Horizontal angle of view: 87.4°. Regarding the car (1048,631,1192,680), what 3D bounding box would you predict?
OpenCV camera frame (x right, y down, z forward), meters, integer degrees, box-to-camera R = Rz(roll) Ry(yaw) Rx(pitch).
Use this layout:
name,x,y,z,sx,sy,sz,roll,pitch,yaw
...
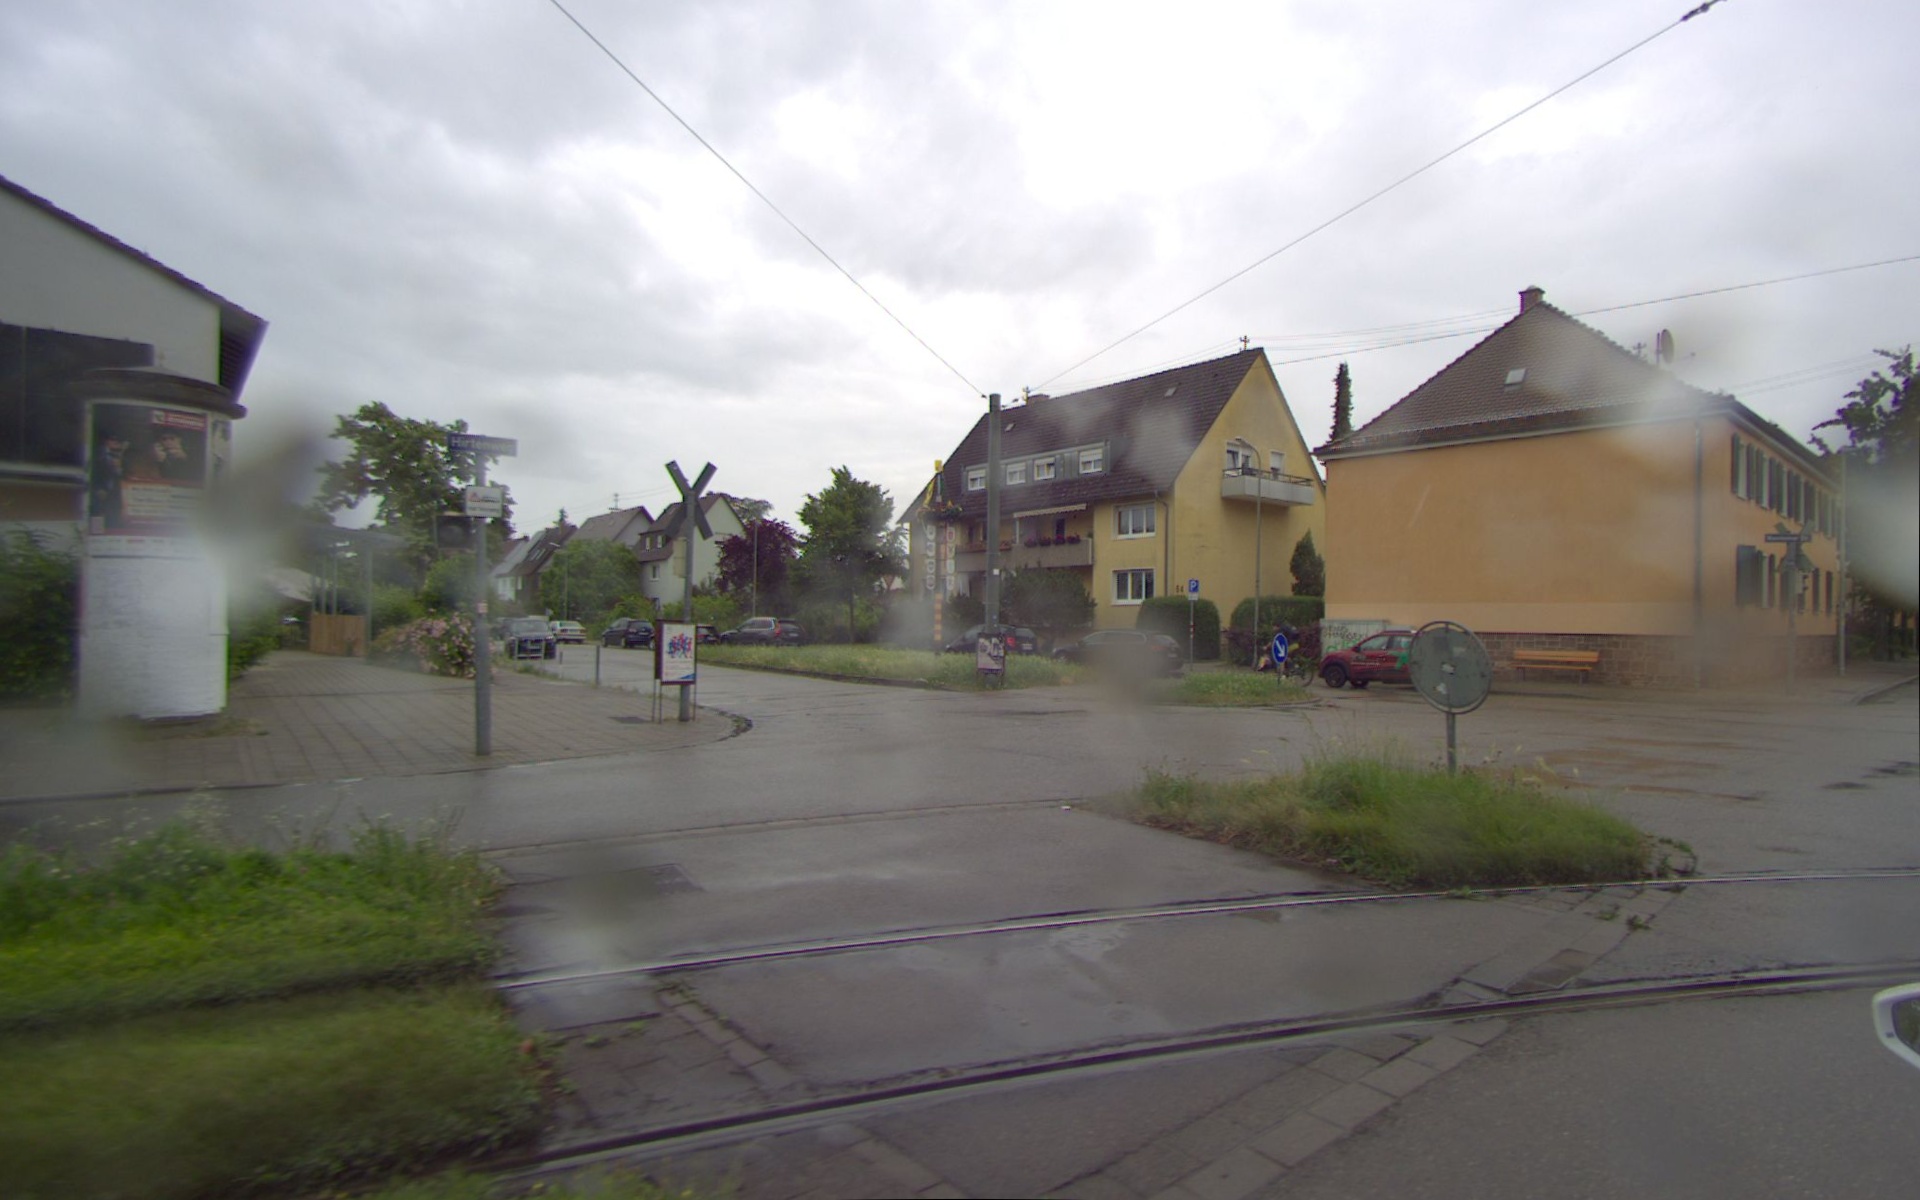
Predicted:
name,x,y,z,sx,sy,sz,roll,pitch,yaw
car,5.135,1.745,32.705,1.952,1.414,4.450,1,-1,-41

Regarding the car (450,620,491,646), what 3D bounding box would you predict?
name,x,y,z,sx,sy,sz,roll,pitch,yaw
car,-39.315,2.634,80.585,1.985,1.818,3.951,1,1,-41

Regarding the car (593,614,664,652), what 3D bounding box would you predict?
name,x,y,z,sx,sy,sz,roll,pitch,yaw
car,-17.918,1.740,54.180,3.944,1.818,1.988,2,1,44

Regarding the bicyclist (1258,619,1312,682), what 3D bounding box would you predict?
name,x,y,z,sx,sy,sz,roll,pitch,yaw
bicyclist,8.586,1.311,26.546,0.942,1.619,1.030,1,-2,-41

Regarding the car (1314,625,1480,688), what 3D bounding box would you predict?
name,x,y,z,sx,sy,sz,roll,pitch,yaw
car,11.316,1.409,26.169,1.710,1.357,3.572,1,1,-42

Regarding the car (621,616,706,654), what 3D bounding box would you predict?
name,x,y,z,sx,sy,sz,roll,pitch,yaw
car,-12.533,1.439,42.302,1.985,1.496,3.952,1,-2,-41

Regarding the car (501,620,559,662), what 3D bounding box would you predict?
name,x,y,z,sx,sy,sz,roll,pitch,yaw
car,-17.692,1.664,41.268,1.768,1.482,3.968,2,1,-29

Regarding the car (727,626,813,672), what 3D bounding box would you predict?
name,x,y,z,sx,sy,sz,roll,pitch,yaw
car,-8.825,2.217,46.472,3.944,1.818,1.988,2,1,43

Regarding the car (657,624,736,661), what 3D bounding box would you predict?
name,x,y,z,sx,sy,sz,roll,pitch,yaw
car,-13.260,2.089,50.459,4.067,1.595,1.989,2,1,43

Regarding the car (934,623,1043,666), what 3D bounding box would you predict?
name,x,y,z,sx,sy,sz,roll,pitch,yaw
car,1.000,1.593,36.937,1.747,1.350,3.949,1,1,-42

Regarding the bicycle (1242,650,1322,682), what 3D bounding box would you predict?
name,x,y,z,sx,sy,sz,roll,pitch,yaw
bicycle,8.516,1.730,26.622,0.935,0.797,1.798,2,-2,-41

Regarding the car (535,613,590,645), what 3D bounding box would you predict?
name,x,y,z,sx,sy,sz,roll,pitch,yaw
car,-24.755,1.783,62.522,1.985,1.818,3.951,1,1,-41

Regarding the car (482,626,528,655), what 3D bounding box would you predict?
name,x,y,z,sx,sy,sz,roll,pitch,yaw
car,-32.953,2.895,72.699,1.985,1.818,3.951,1,1,-41

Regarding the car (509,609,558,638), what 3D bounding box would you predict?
name,x,y,z,sx,sy,sz,roll,pitch,yaw
car,-29.188,1.597,68.676,1.985,1.818,3.951,1,1,-41
